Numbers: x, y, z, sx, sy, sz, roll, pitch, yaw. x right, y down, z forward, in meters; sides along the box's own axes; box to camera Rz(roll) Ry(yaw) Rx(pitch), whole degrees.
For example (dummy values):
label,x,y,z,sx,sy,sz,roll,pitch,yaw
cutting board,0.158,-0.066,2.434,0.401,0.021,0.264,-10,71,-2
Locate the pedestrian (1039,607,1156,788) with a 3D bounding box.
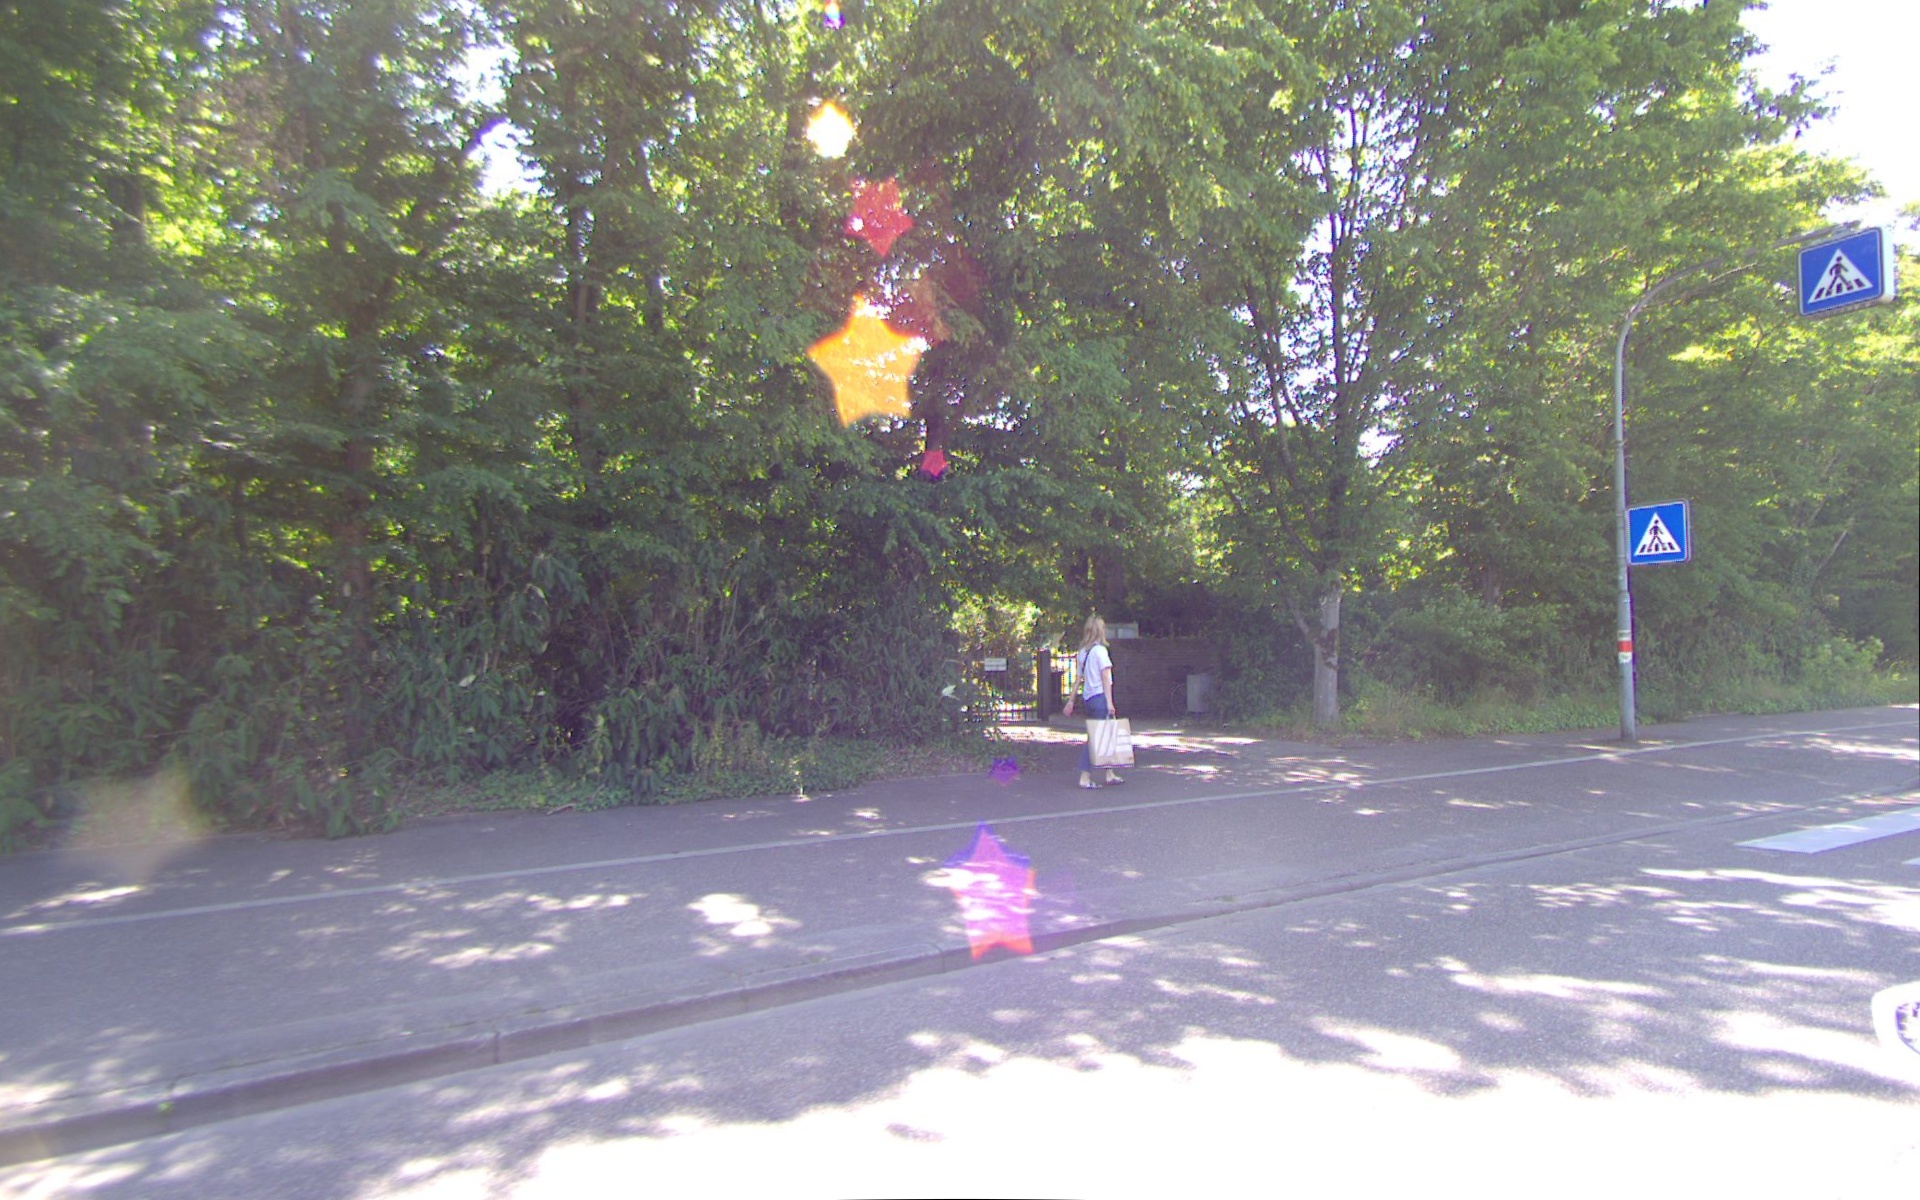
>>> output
label,x,y,z,sx,sy,sz,roll,pitch,yaw
pedestrian,1.319,0.893,9.678,0.775,1.644,0.823,1,-1,-33
